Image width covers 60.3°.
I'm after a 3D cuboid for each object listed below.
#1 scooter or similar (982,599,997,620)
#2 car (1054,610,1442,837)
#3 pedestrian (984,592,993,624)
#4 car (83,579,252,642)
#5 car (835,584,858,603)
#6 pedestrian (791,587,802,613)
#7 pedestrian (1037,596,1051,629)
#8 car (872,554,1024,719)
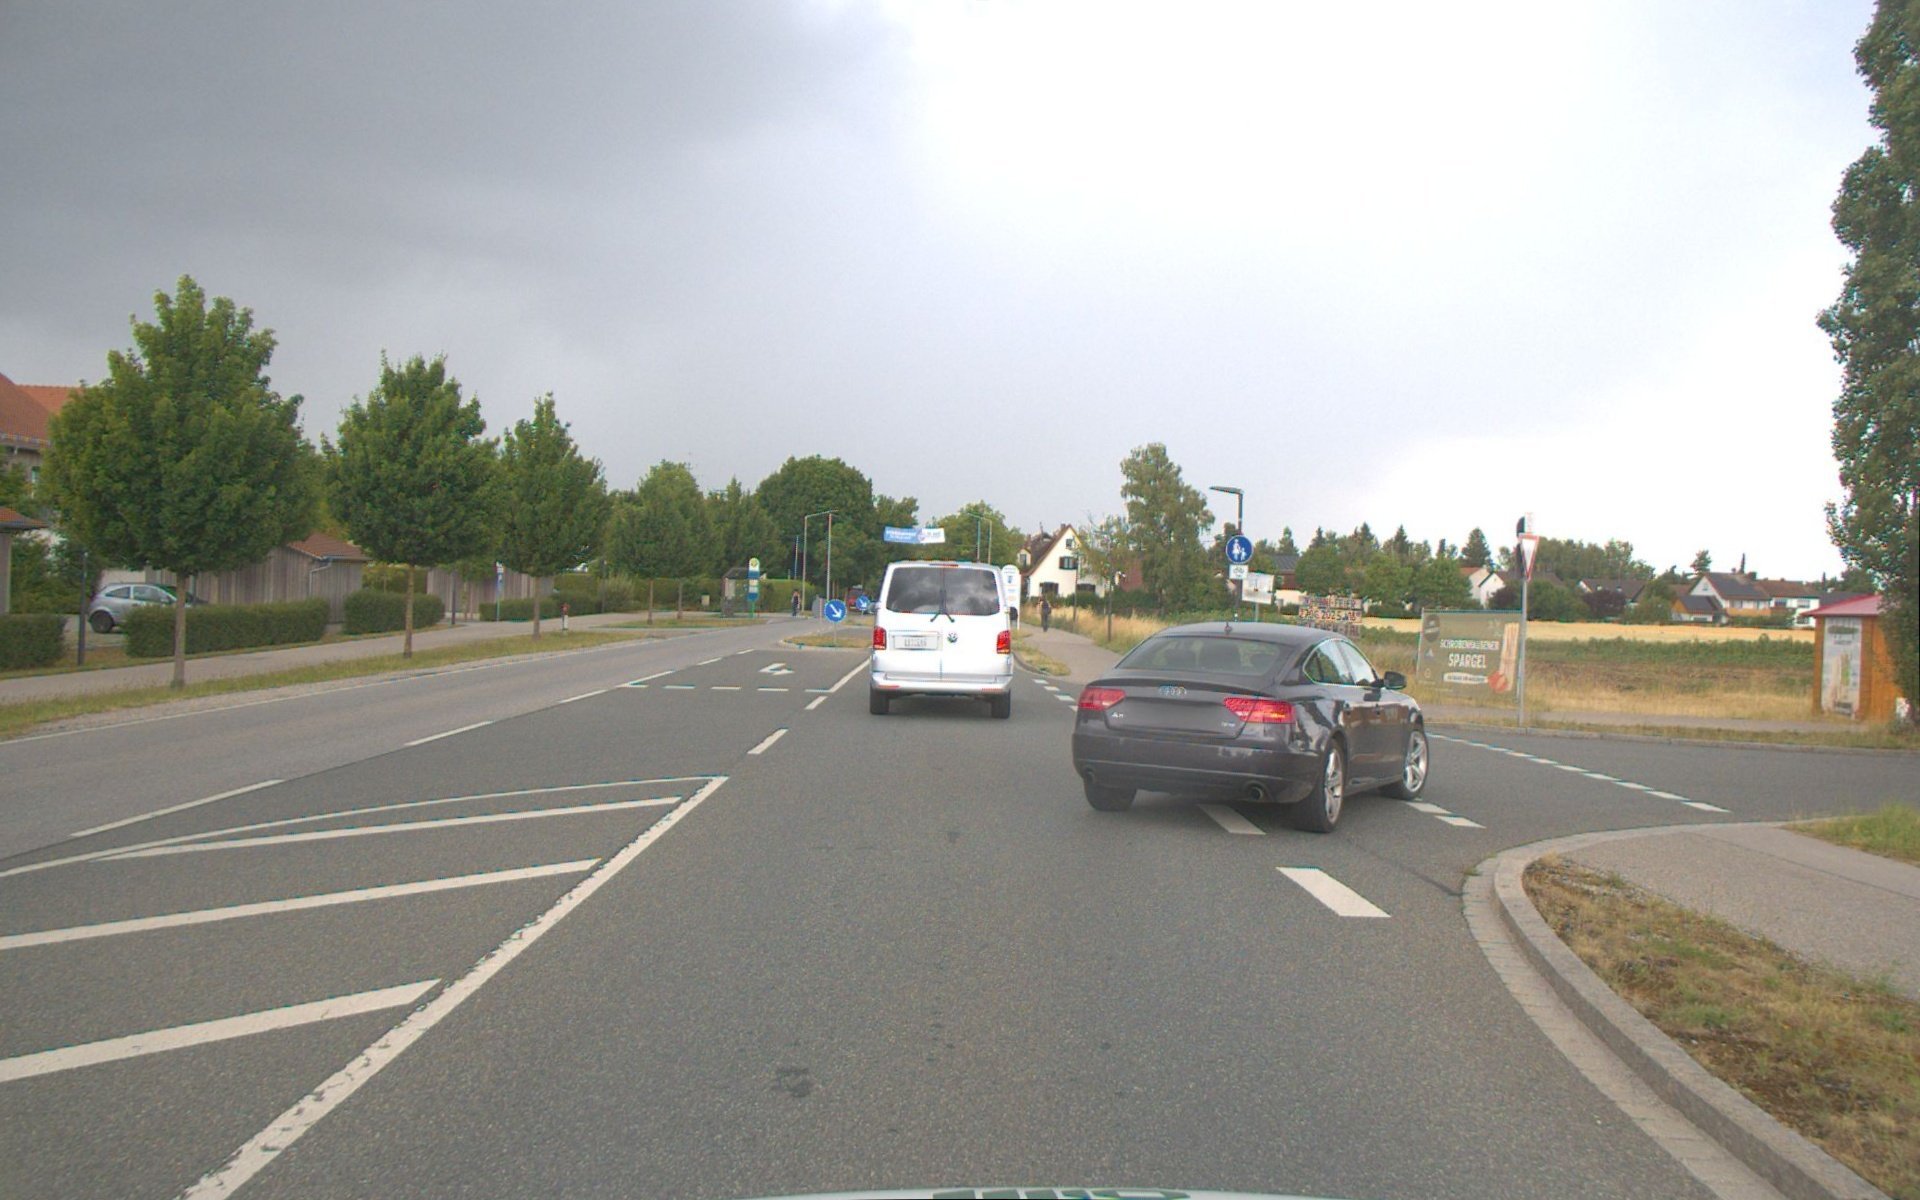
[{"bbox_3d":[1.631,0.523,91.940,0.831,1.123,1.094,0,0,-1],"label":"scooter or similar"},{"bbox_3d":[2.403,0.835,12.742,1.790,1.413,4.382,0,-2,26],"label":"car"},{"bbox_3d":[1.589,0.427,91.035,0.475,1.762,0.642,0,0,-1],"label":"pedestrian"},{"bbox_3d":[-23.120,0.295,48.348,3.905,1.583,2.000,3,0,0],"label":"car"},{"bbox_3d":[-9.118,-0.516,132.832,1.620,1.454,3.601,0,0,-1],"label":"car"},{"bbox_3d":[-9.797,0.005,98.929,0.611,1.551,0.679,0,0,-1],"label":"pedestrian"},{"bbox_3d":[4.054,0.589,79.712,0.611,1.551,0.679,0,0,-1],"label":"pedestrian"},{"bbox_3d":[-0.222,0.438,22.359,1.789,1.946,3.998,3,0,-2],"label":"car"}]
